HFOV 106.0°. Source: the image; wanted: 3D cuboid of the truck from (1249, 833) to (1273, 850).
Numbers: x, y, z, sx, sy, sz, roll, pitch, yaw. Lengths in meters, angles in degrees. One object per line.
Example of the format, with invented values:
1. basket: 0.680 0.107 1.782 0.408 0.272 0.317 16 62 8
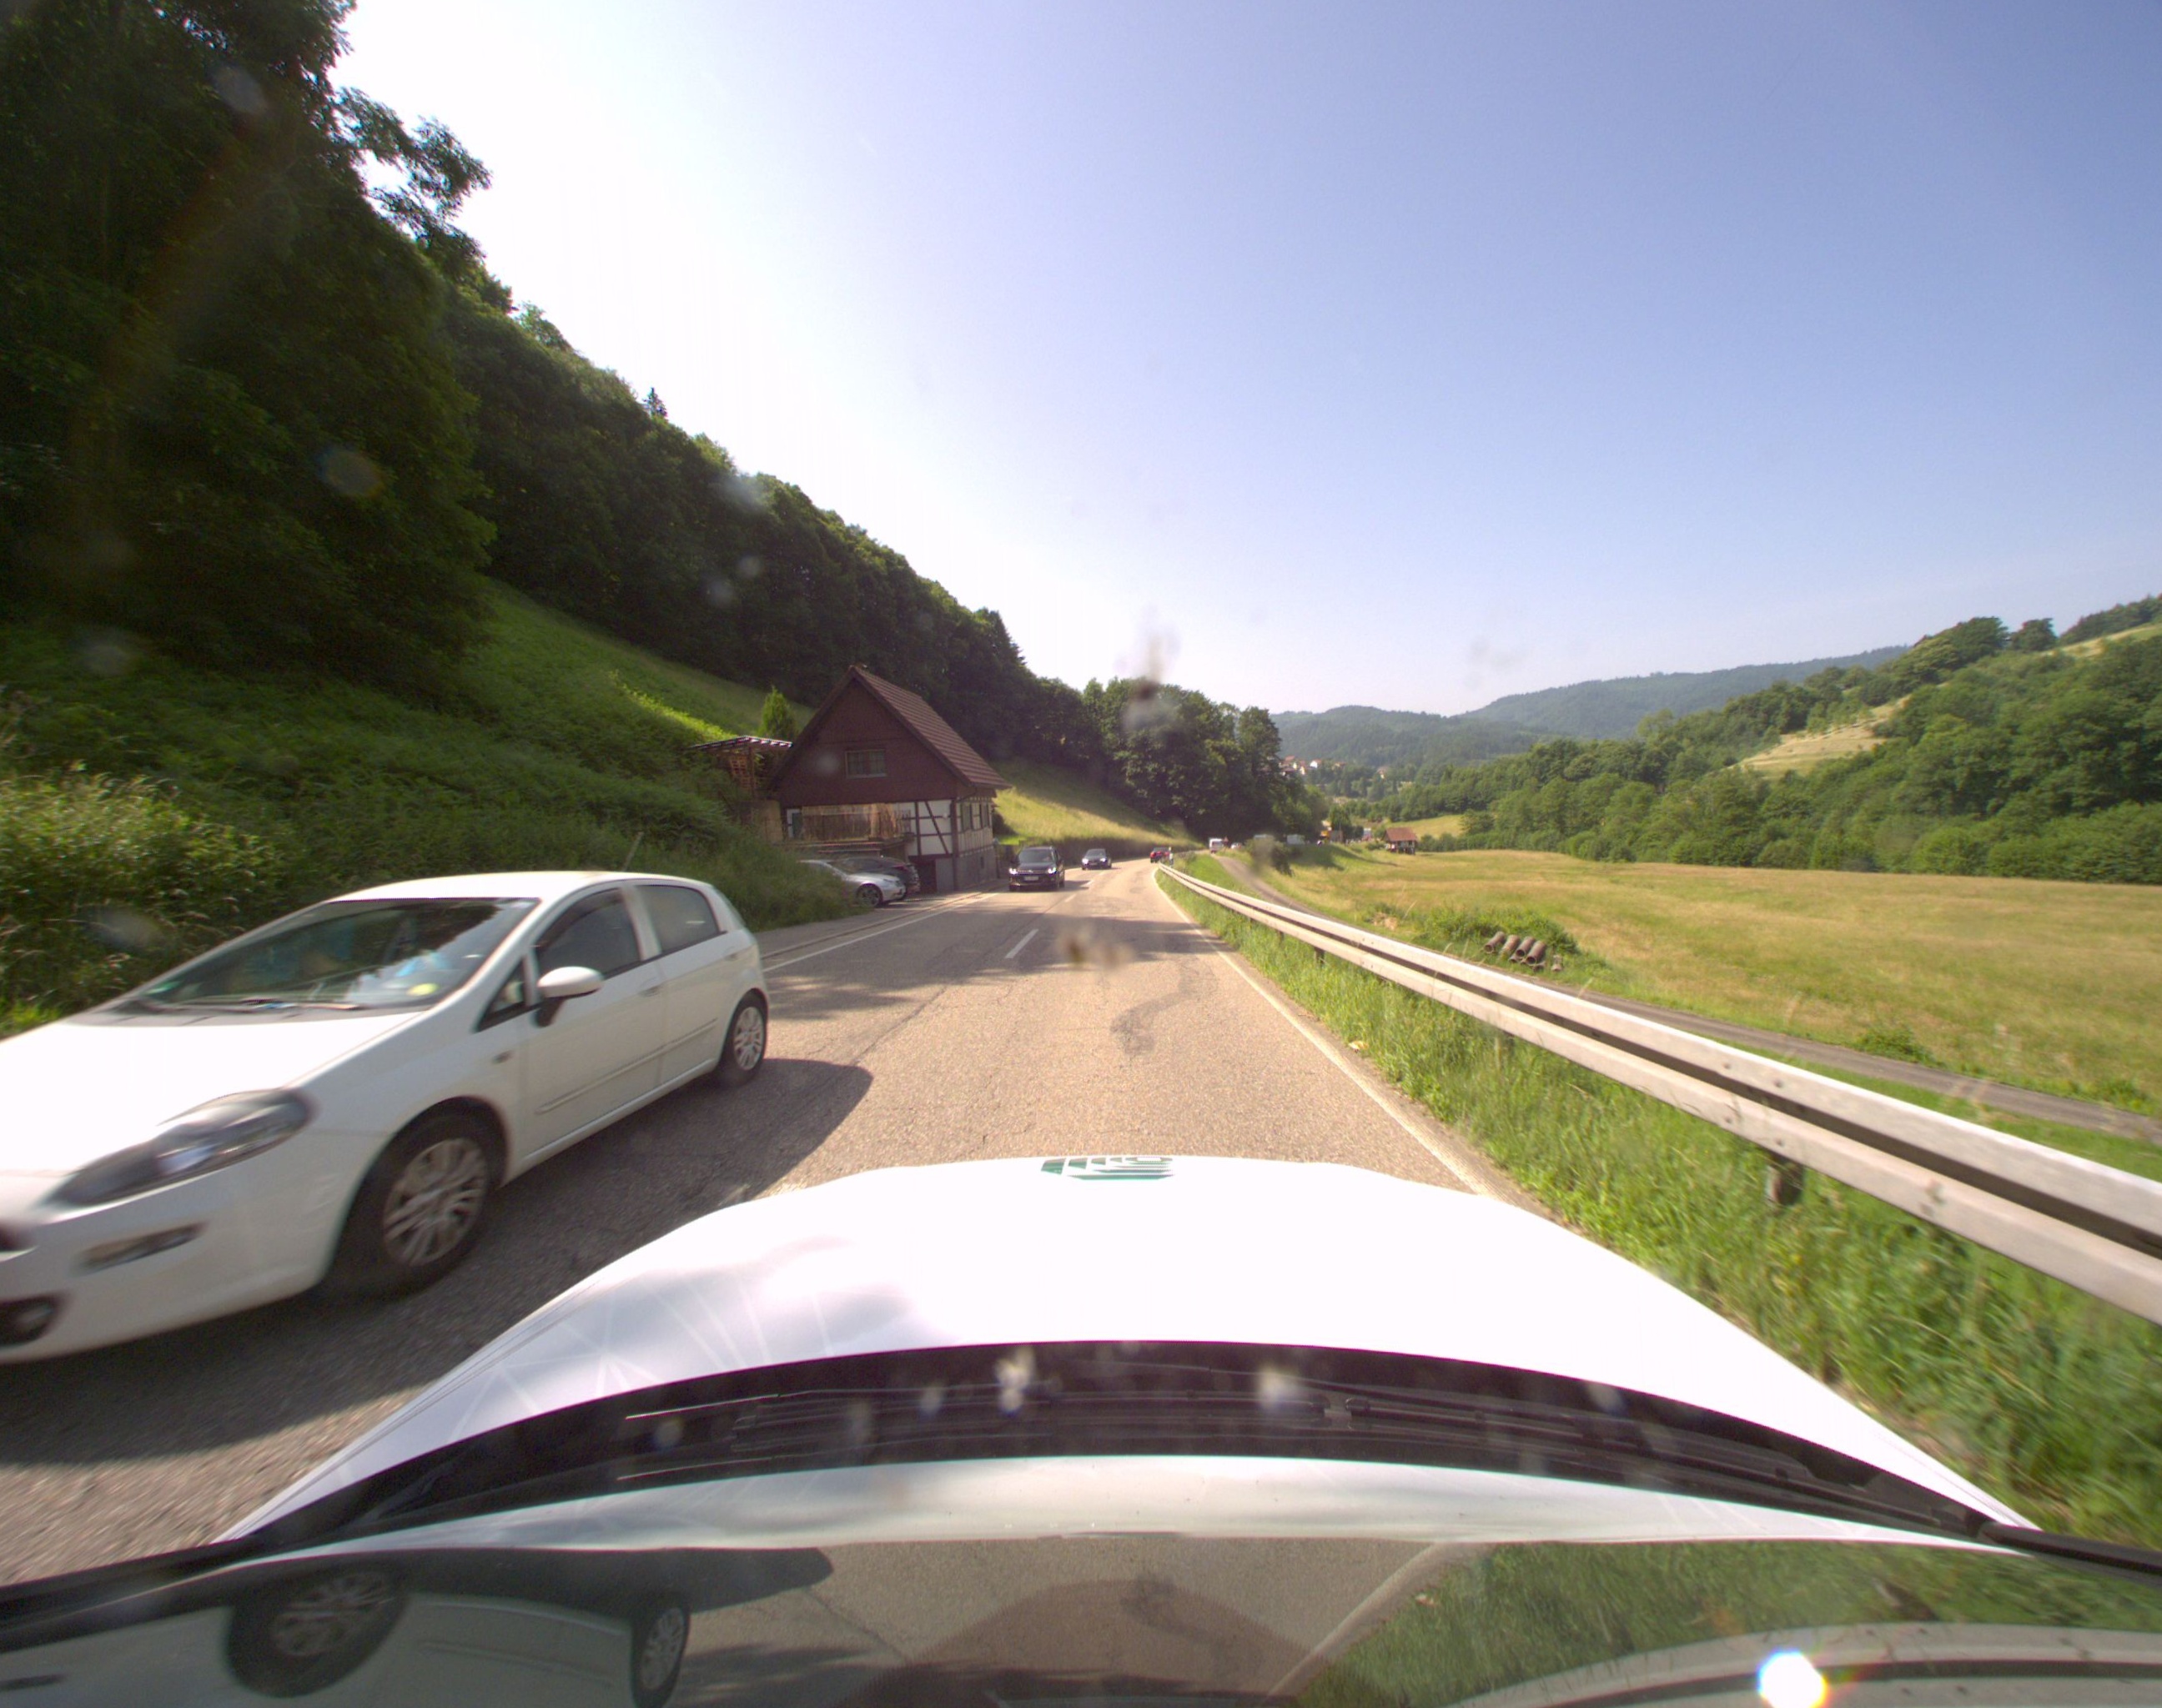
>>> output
1. truck: 35.158 -2.469 159.162 2.765 2.997 6.910 3 3 27

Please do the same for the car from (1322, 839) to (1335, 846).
1. car: 60.236 -2.864 197.942 1.888 1.485 4.025 4 2 34

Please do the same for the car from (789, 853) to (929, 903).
1. car: -6.974 0.746 25.849 3.797 1.432 1.867 -1 1 5

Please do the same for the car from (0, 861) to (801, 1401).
1. car: -3.127 0.787 4.217 1.770 1.437 4.002 -2 -1 2

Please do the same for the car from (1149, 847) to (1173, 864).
1. car: 7.151 0.132 72.378 1.760 1.335 3.780 0 2 11

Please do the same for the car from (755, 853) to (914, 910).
1. car: -6.871 0.749 22.927 3.797 1.416 1.860 -1 1 5

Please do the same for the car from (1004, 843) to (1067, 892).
1. car: -1.643 0.461 30.913 1.881 1.644 4.262 -2 1 3

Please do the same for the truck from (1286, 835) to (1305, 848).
1. truck: 46.973 -2.780 178.309 2.216 2.804 6.271 1 0 31

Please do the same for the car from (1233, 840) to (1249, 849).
1. car: 28.186 -1.691 143.370 1.976 1.484 4.023 2 2 24

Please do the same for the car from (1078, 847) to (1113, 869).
1. car: 1.070 0.237 57.275 1.754 1.396 4.158 -1 2 10

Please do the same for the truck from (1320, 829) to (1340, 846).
1. truck: 65.605 -4.306 214.323 3.158 4.396 6.613 3 2 35

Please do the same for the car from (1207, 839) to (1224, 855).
1. car: 20.725 -1.145 125.149 1.978 2.352 4.937 0 2 17

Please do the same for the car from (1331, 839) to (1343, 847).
1. car: 64.845 -2.770 206.282 1.974 1.925 4.026 2 2 34
